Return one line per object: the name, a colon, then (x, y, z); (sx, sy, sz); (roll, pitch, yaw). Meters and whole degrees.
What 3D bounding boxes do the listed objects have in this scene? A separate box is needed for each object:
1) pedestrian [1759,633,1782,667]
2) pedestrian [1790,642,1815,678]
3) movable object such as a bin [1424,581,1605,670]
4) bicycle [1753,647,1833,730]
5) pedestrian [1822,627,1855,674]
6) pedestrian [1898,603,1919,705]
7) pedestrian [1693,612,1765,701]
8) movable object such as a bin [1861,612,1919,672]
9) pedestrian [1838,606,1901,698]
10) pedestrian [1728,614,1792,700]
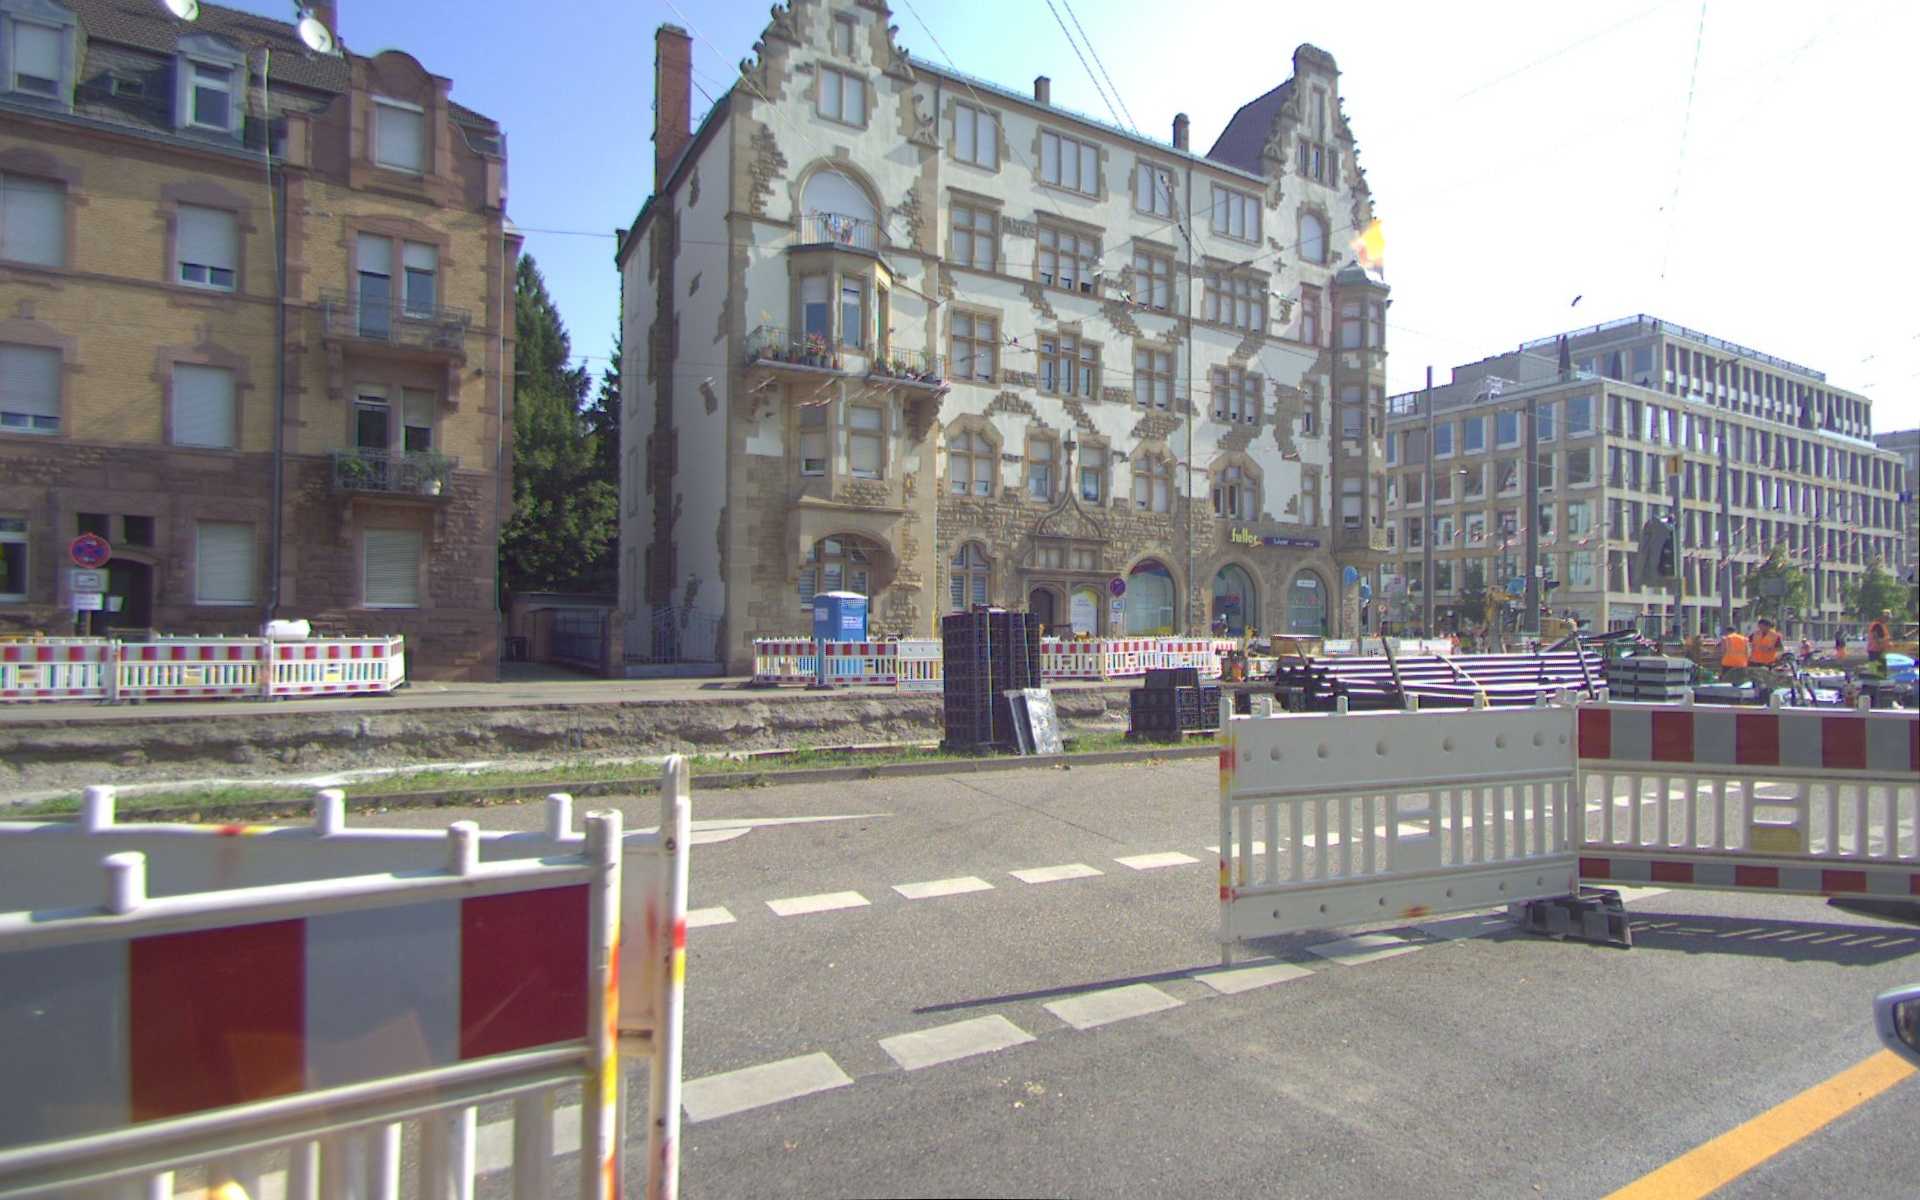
pedestrian: (45.736, 2.818, 56.673); (0.799, 1.889, 0.751); (1, -1, -27)
pedestrian: (45.801, 3.264, 54.603); (0.804, 1.889, 0.915); (2, -2, -41)
movable object such as a bin: (29.863, 1.453, 54.562); (4.890, 4.404, 7.356); (2, -3, -17)
bicycle: (12.081, 1.254, 14.551); (1.952, 1.113, 0.557); (3, -1, -40)
pedestrian: (36.398, 2.098, 41.614); (0.712, 1.937, 0.785); (1, -2, -22)
pedestrian: (19.622, 1.085, 20.334); (0.683, 2.041, 0.674); (-1, -2, 23)
pedestrian: (16.315, 1.198, 21.318); (0.870, 1.840, 0.828); (1, -2, -15)
movable object such as a bin: (51.217, 2.280, 52.663); (8.379, 2.996, 3.595); (3, -1, -31)
pedestrian: (19.158, 1.086, 21.175); (0.698, 1.895, 0.718); (1, -2, -22)
pedestrian: (17.520, 1.245, 22.014); (0.813, 1.833, 0.755); (0, -2, 15)
